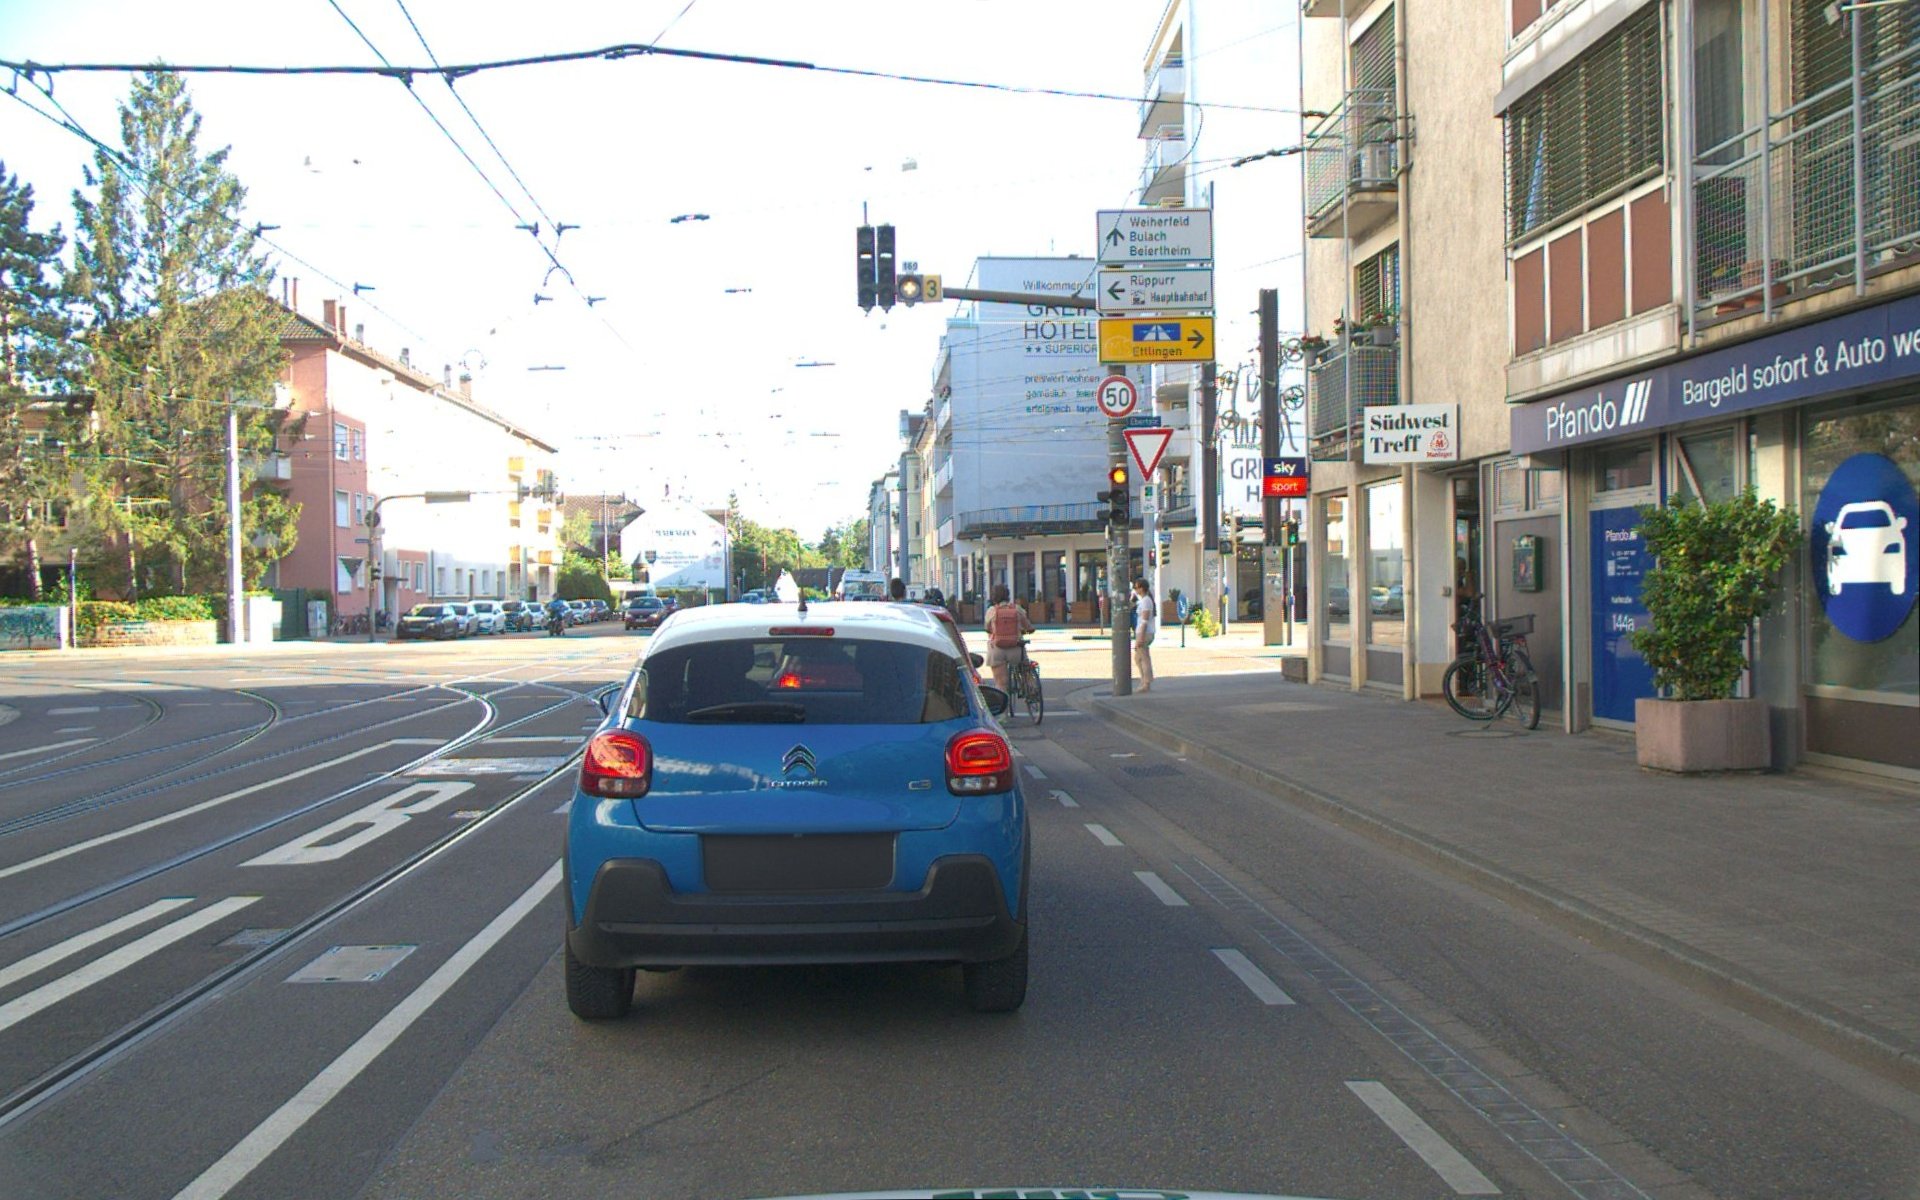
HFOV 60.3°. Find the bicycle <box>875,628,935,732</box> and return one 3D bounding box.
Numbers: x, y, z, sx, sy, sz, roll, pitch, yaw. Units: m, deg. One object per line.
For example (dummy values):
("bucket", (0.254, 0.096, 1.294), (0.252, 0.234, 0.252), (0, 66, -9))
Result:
("bicycle", (-0.672, 0.921, 19.717), (0.604, 1.123, 1.884), (-1, 0, -5))

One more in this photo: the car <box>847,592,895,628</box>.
("car", (-3.674, 0.388, 67.737), (1.752, 1.383, 3.909), (-1, 0, -6))

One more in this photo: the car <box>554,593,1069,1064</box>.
("car", (-0.613, 0.731, 7.347), (1.647, 1.488, 3.997), (1, 0, -4))

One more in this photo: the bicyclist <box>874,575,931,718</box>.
("bicyclist", (-0.688, 0.538, 19.613), (0.604, 1.658, 0.759), (-1, 0, -5))

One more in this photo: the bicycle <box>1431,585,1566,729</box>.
("bicycle", (5.113, 0.506, 15.816), (0.627, 1.287, 1.910), (-1, 0, -1))

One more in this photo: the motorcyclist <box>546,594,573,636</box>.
("motorcyclist", (-16.203, 0.610, 66.950), (0.973, 1.659, 0.737), (-1, 0, -10))

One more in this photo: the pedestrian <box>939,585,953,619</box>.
("pedestrian", (-0.583, 0.090, 69.990), (0.459, 1.445, 0.525), (-1, 0, -13))

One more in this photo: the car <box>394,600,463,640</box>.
("car", (-22.013, 0.794, 68.649), (1.913, 1.545, 3.995), (-1, 0, -6))

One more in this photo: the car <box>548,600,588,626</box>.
("car", (-24.405, 0.814, 102.988), (1.913, 1.545, 3.995), (-1, 0, -6))

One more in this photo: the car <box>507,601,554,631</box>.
("car", (-23.761, 0.861, 91.566), (1.913, 1.545, 3.995), (-1, 0, -6))

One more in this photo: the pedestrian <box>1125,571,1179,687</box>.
("pedestrian", (2.820, 0.415, 24.339), (0.735, 1.663, 0.740), (-1, 0, 5))

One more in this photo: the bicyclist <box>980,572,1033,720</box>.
("bicyclist", (0.568, 0.553, 20.593), (0.588, 1.776, 1.084), (-1, 0, -1))

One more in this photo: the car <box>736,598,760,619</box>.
("car", (-21.805, 0.821, 170.490), (2.293, 2.074, 5.044), (-1, 0, -6))

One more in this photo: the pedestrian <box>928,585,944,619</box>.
("pedestrian", (-1.008, 0.095, 70.235), (0.514, 1.445, 0.547), (-1, 0, 19))

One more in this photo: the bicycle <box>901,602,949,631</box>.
("bicycle", (-1.391, 0.645, 65.777), (1.868, 1.083, 0.641), (-1, 0, -8))

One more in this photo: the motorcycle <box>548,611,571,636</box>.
("motorcycle", (-16.224, 0.943, 67.018), (0.738, 0.993, 2.092), (-1, 0, -9))

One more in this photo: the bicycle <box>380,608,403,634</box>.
("bicycle", (-25.670, 0.944, 74.690), (0.597, 1.101, 1.908), (-1, 0, -7))

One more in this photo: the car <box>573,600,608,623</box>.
("car", (-25.563, 0.796, 114.592), (1.913, 1.545, 3.995), (-1, 0, -6))

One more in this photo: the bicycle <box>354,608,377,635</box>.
("bicycle", (-25.872, 0.930, 71.985), (0.527, 1.101, 1.908), (-1, 0, -7))

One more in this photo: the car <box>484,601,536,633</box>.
("car", (-23.231, 0.844, 85.516), (1.913, 1.545, 3.995), (-1, 0, -6))

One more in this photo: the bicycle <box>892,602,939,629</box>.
("bicycle", (-1.858, 0.647, 68.268), (1.868, 1.083, 0.641), (-1, 0, -8))

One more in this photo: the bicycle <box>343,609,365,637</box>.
("bicycle", (-24.586, 0.931, 67.115), (0.527, 1.101, 1.905), (-1, 0, -11))

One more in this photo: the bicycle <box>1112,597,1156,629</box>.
("bicycle", (6.318, 0.469, 60.116), (1.459, 1.110, 0.605), (-1, 0, 25))

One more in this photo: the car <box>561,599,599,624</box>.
("car", (-24.847, 0.756, 108.261), (1.913, 1.545, 3.995), (-1, 0, -6))

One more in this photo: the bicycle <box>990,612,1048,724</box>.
("bicycle", (0.721, 0.816, 20.633), (0.601, 1.287, 1.910), (-1, 0, -1))

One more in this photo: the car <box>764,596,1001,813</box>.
("car", (-0.679, 0.727, 13.556), (1.647, 1.488, 3.997), (1, 0, -4))

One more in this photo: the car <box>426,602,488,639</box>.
("car", (-22.552, 0.880, 74.254), (1.913, 1.545, 4.040), (-1, 0, -6))

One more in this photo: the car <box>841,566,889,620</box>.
("car", (-4.229, -0.312, 73.175), (2.039, 2.309, 5.646), (0, 0, -4))

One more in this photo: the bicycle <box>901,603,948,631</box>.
("bicycle", (-1.444, 0.670, 67.081), (1.868, 1.083, 0.641), (-1, 0, -8))

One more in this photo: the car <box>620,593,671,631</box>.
("car", (-14.562, 0.509, 76.772), (1.967, 1.656, 5.045), (-1, 0, -7))

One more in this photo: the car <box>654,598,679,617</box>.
("car", (-25.569, 0.654, 144.164), (1.913, 1.545, 3.995), (-1, 0, -6))

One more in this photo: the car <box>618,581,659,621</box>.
("car", (-23.220, 0.076, 119.575), (2.446, 2.759, 5.828), (-1, 0, -7))

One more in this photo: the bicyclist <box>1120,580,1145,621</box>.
("bicyclist", (6.270, 0.006, 60.132), (0.712, 1.459, 0.605), (-1, 0, 25))

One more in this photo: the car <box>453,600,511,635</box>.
("car", (-22.753, 0.824, 78.859), (1.913, 1.545, 3.995), (-1, 0, -6))

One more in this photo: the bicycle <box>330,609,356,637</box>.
("bicycle", (-24.980, 0.921, 66.989), (0.628, 1.101, 1.905), (-1, 0, -11))

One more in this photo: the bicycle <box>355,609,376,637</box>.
("bicycle", (-24.228, 0.939, 67.414), (0.527, 1.101, 1.905), (-1, 0, -11))
